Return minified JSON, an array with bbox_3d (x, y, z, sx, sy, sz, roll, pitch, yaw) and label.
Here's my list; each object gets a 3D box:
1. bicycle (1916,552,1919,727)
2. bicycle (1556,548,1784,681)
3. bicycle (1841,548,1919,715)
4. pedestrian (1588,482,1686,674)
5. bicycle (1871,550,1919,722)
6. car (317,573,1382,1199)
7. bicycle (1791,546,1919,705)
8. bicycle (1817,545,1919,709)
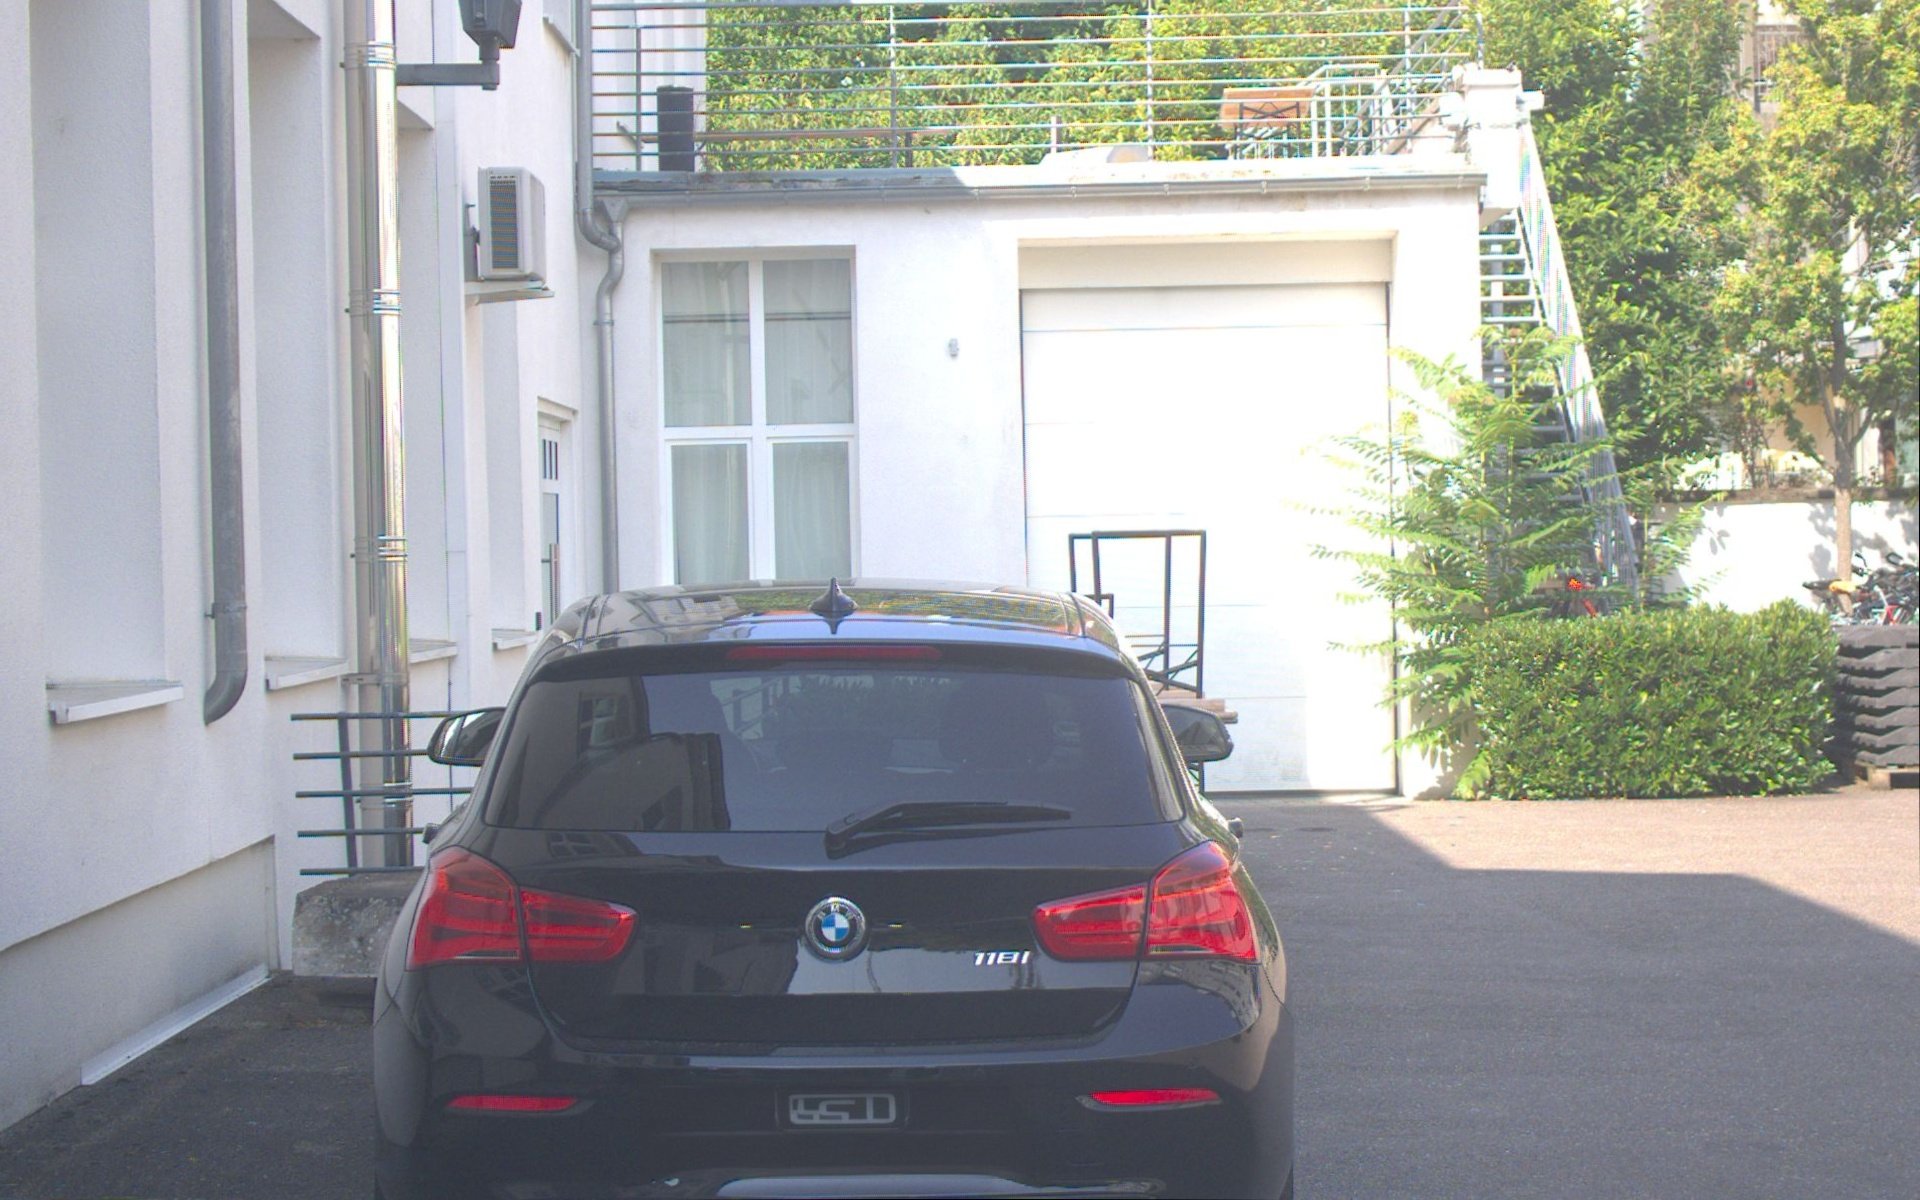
[{"bbox_3d":[8.043,0.277,24.319,2.411,1.242,0.526,0,1,1],"label":"bicycle"},{"bbox_3d":[6.558,0.125,31.771,1.987,1.140,0.490,-2,2,-10],"label":"bicycle"},{"bbox_3d":[7.907,0.224,25.876,2.411,1.242,0.526,0,1,1],"label":"bicycle"},{"bbox_3d":[6.320,-0.211,32.095,0.609,1.765,0.861,-1,1,-11],"label":"pedestrian"},{"bbox_3d":[7.930,0.249,25.100,2.411,1.242,0.526,0,1,1],"label":"bicycle"},{"bbox_3d":[-0.264,0.682,7.883,1.792,1.423,4.137,0,1,-2],"label":"car"},{"bbox_3d":[7.841,0.193,27.171,2.411,1.242,0.526,0,1,1],"label":"bicycle"},{"bbox_3d":[7.884,0.198,26.509,2.411,1.242,0.526,0,1,1],"label":"bicycle"}]
